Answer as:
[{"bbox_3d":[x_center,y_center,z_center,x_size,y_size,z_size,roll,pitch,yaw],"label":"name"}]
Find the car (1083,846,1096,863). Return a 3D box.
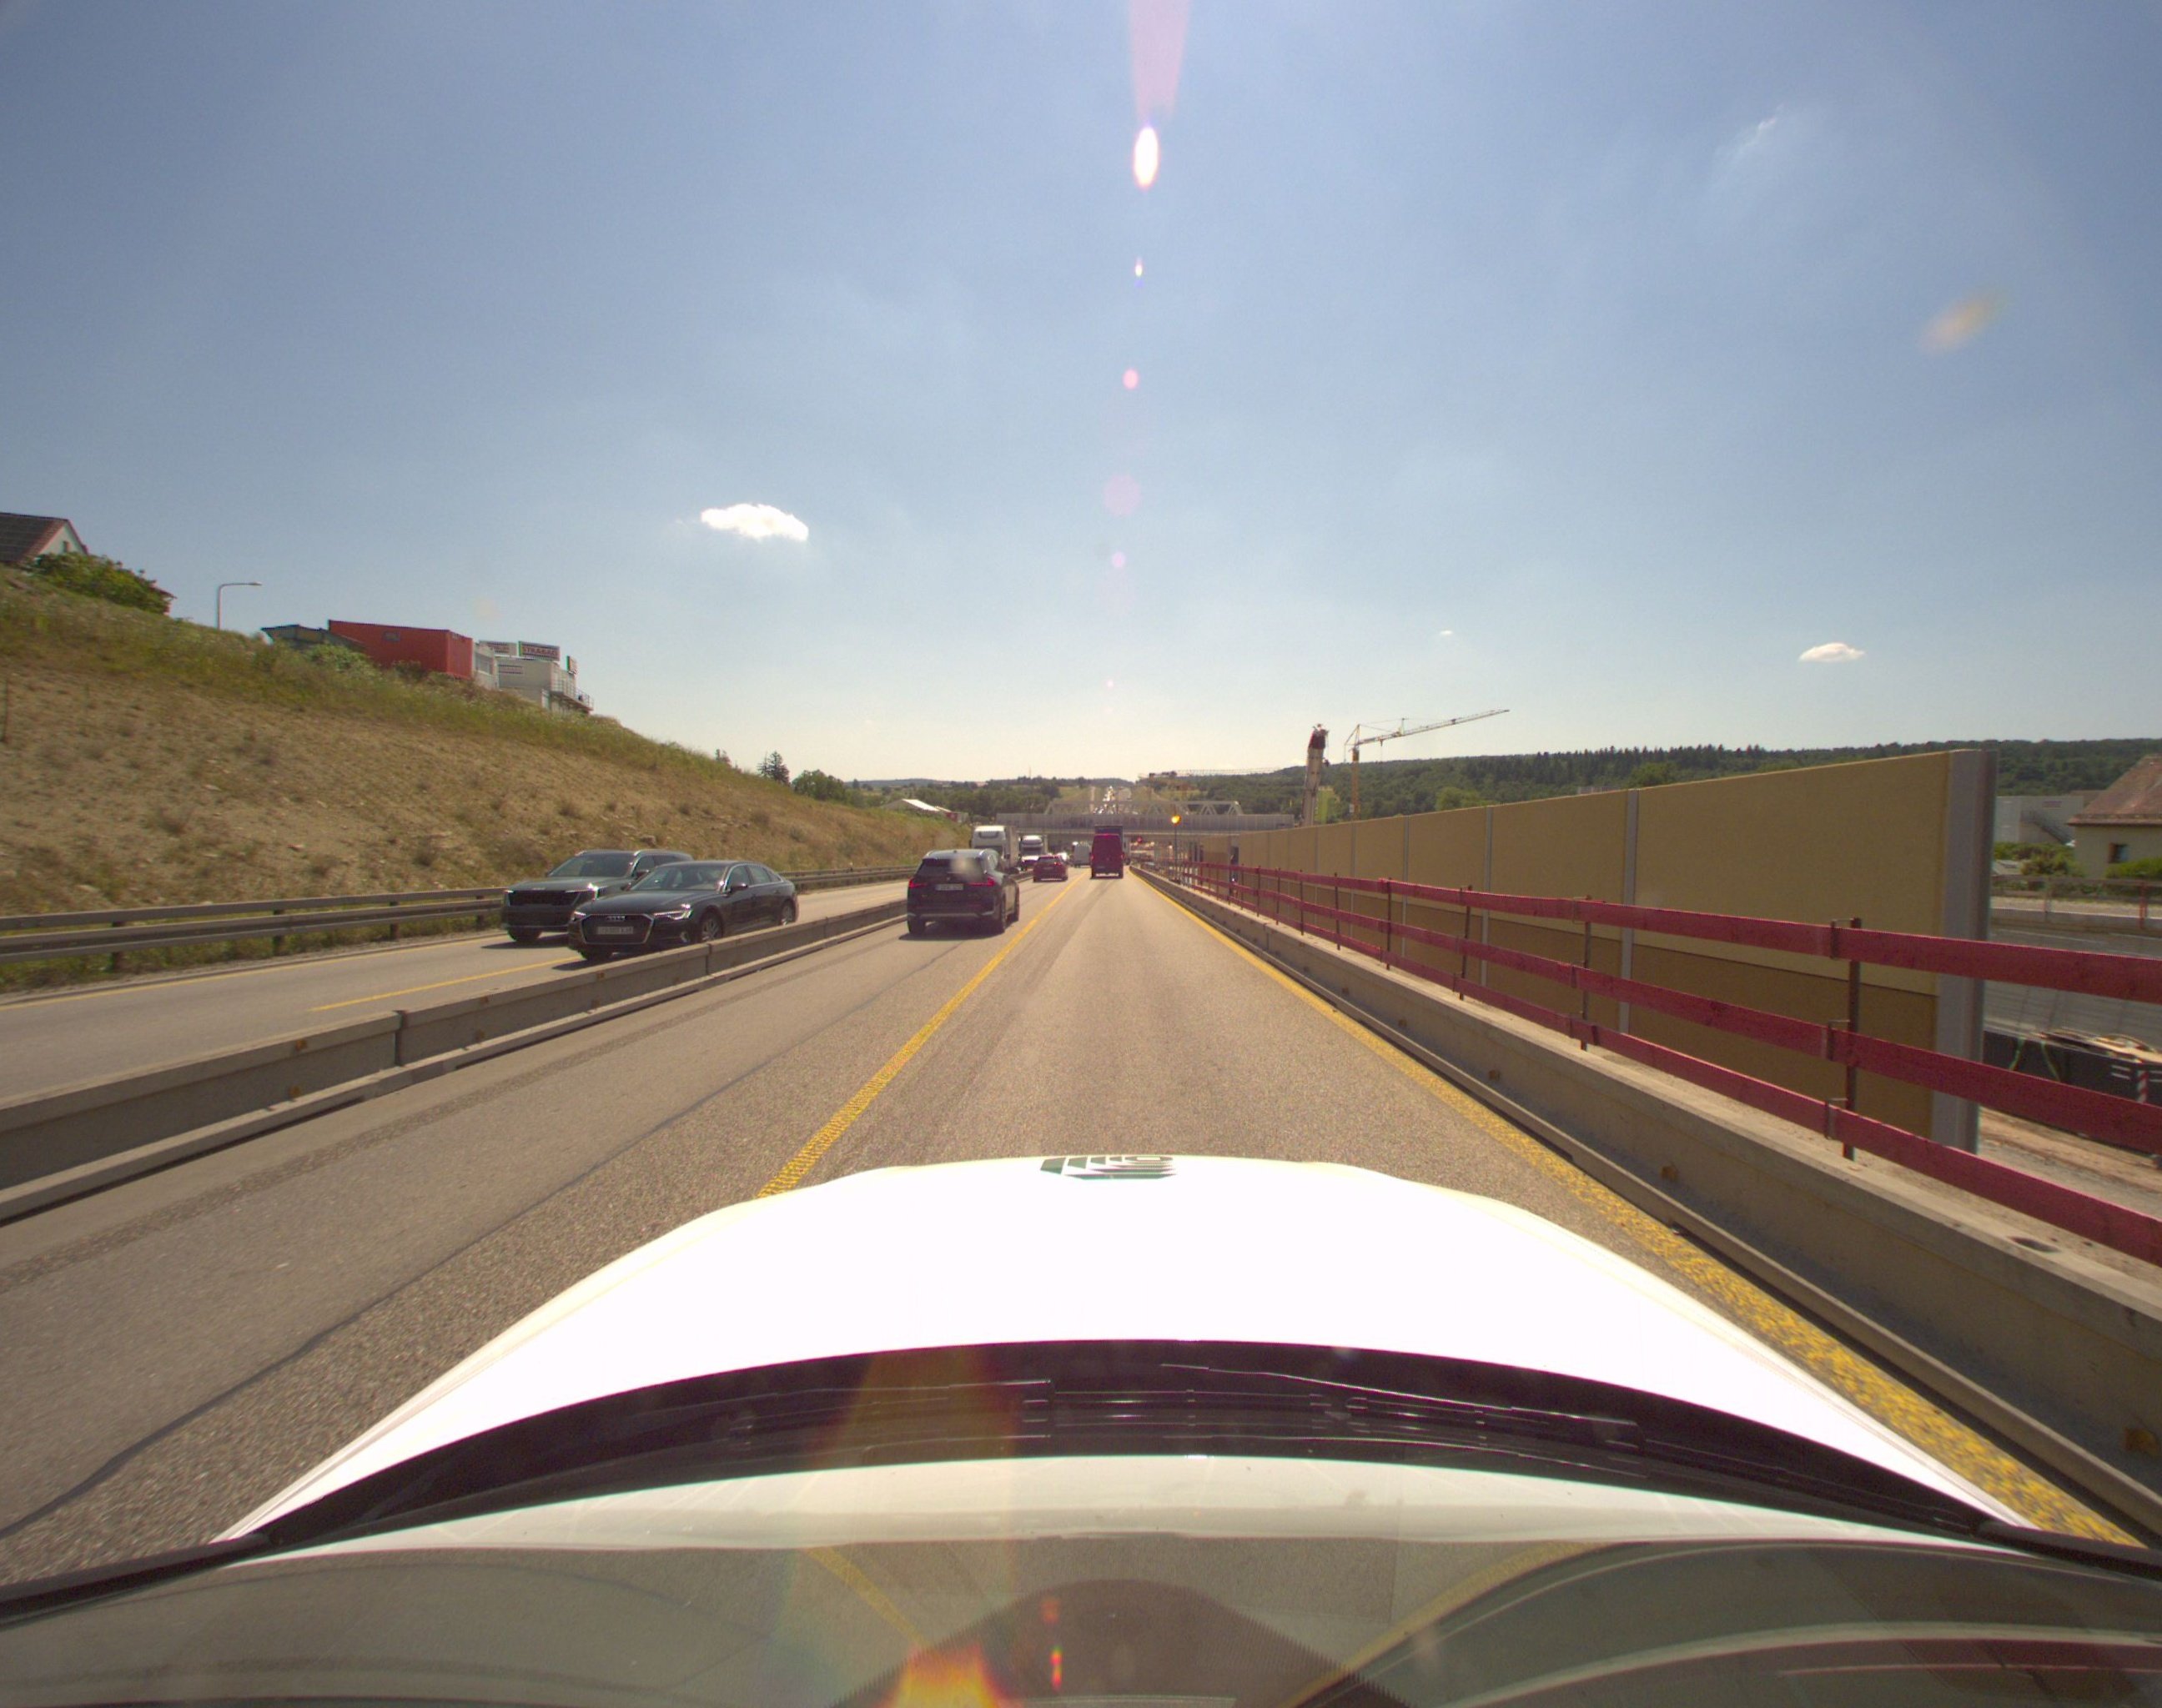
[{"bbox_3d":[1.192,0.026,112.263,1.769,2.330,4.207,-1,0,2],"label":"car"}]

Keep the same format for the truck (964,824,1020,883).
[{"bbox_3d":[-5.366,-0.046,50.271,2.529,3.374,7.040,0,0,1],"label":"truck"}]

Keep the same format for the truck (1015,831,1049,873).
[{"bbox_3d":[-4.574,-0.191,77.816,2.580,3.758,7.360,0,0,1],"label":"truck"}]

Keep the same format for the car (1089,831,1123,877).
[{"bbox_3d":[1.531,-0.002,50.393,1.981,2.690,4.625,-1,0,2],"label":"car"}]

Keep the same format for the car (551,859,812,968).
[{"bbox_3d":[-6.295,0.827,13.631,1.790,1.427,4.951,-1,0,1],"label":"car"}]

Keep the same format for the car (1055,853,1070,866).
[{"bbox_3d":[-2.712,0.825,119.659,2.027,1.823,4.961,0,0,1],"label":"car"}]

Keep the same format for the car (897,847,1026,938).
[{"bbox_3d":[-2.322,0.685,17.036,1.873,1.618,4.501,-1,0,2],"label":"car"}]

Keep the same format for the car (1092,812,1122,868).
[{"bbox_3d":[2.520,-1.264,79.377,2.611,5.032,10.400,-1,0,2],"label":"car"}]

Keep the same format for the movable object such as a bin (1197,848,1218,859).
[{"bbox_3d":[32.615,-0.026,210.179,5.118,2.807,2.147,0,0,7],"label":"movable object such as a bin"}]

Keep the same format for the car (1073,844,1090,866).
[{"bbox_3d":[0.062,0.111,92.481,1.769,2.441,4.207,-1,0,2],"label":"car"}]

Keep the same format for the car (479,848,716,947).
[{"bbox_3d":[-9.340,0.731,16.311,1.847,1.672,4.670,-1,0,1],"label":"car"}]

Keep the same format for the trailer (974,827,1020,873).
[{"bbox_3d":[-7.911,-0.349,78.521,2.688,4.024,13.706,0,0,1],"label":"trailer"}]

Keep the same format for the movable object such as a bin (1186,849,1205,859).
[{"bbox_3d":[30.617,-0.043,217.662,5.118,2.807,2.147,0,0,7],"label":"movable object such as a bin"}]

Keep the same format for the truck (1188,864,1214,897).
[{"bbox_3d":[14.978,3.232,102.192,2.747,3.886,5.887,0,0,3],"label":"truck"}]

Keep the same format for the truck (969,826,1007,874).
[{"bbox_3d":[-8.085,-0.362,71.083,2.688,4.050,3.956,0,0,1],"label":"truck"}]

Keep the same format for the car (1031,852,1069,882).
[{"bbox_3d":[-1.684,0.695,45.164,1.769,1.517,4.208,-1,0,2],"label":"car"}]

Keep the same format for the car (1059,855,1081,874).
[{"bbox_3d":[-1.001,0.938,76.508,1.833,1.654,4.166,-1,0,1],"label":"car"}]
